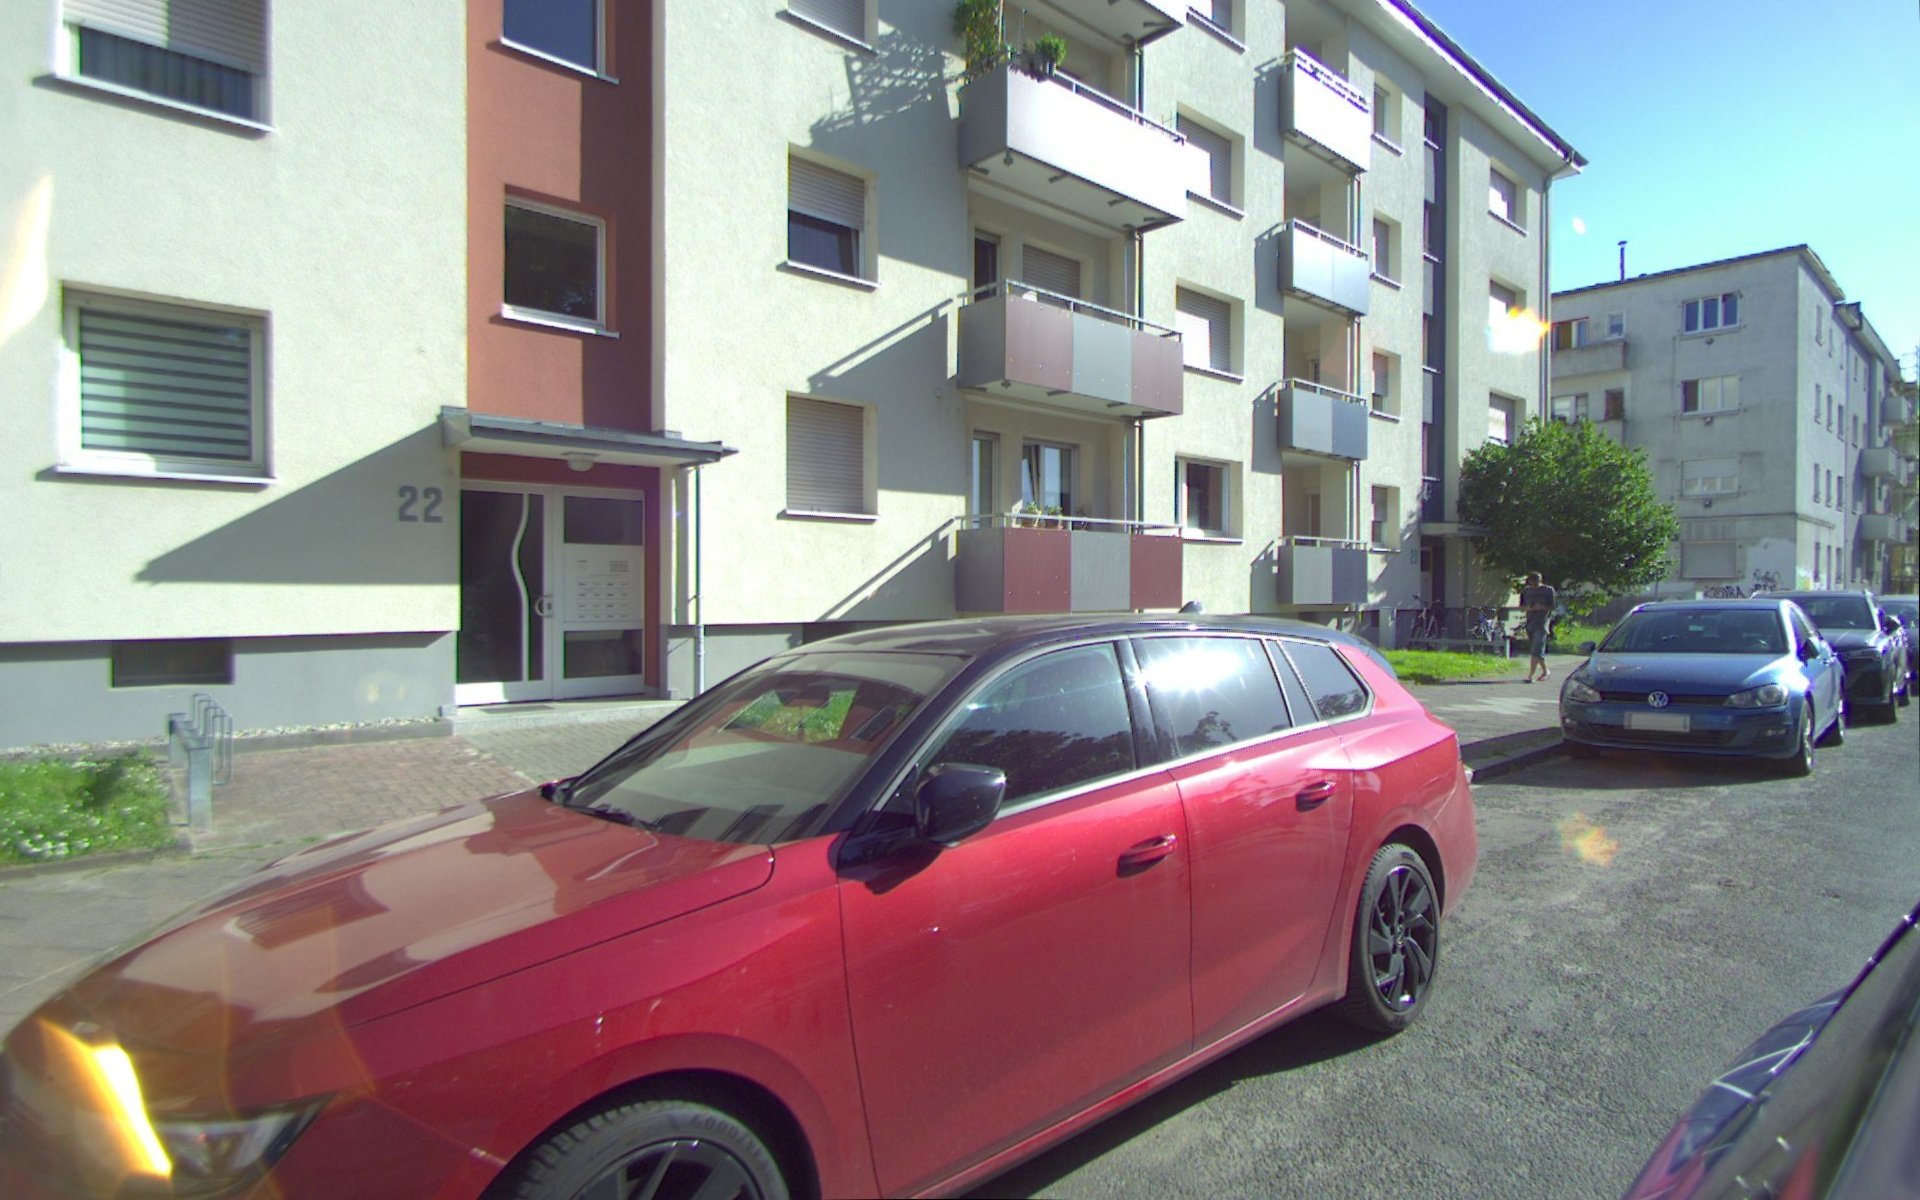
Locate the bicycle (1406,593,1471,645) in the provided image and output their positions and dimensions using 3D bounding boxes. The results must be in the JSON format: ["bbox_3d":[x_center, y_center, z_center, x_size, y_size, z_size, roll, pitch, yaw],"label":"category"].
[{"bbox_3d":[9.768,0.370,20.623,0.485,0.972,2.247,1,1,45],"label":"bicycle"}]

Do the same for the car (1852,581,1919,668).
[{"bbox_3d":[19.527,0.439,20.637,4.017,1.568,1.619,-2,1,-43],"label":"car"}]

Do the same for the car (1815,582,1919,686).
[{"bbox_3d":[15.311,0.475,16.532,3.734,1.503,1.606,-2,1,-43],"label":"car"}]

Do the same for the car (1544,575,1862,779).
[{"bbox_3d":[7.160,0.552,9.594,4.013,1.499,1.753,-2,0,-44],"label":"car"}]

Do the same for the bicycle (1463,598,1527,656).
[{"bbox_3d":[10.446,0.499,19.718,0.485,1.024,2.247,1,1,45],"label":"bicycle"}]

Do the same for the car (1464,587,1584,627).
[{"bbox_3d":[21.748,0.271,39.110,1.662,1.477,3.716,1,0,-40],"label":"car"}]

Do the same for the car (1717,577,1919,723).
[{"bbox_3d":[11.420,0.523,13.233,4.185,1.578,1.753,-2,0,-44],"label":"car"}]

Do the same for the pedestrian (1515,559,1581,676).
[{"bbox_3d":[9.320,0.263,16.040,0.826,1.794,0.646,-1,0,-41],"label":"pedestrian"}]

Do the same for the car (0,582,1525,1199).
[{"bbox_3d":[-0.058,0.716,3.212,4.443,1.462,1.756,-2,1,-40],"label":"car"}]
